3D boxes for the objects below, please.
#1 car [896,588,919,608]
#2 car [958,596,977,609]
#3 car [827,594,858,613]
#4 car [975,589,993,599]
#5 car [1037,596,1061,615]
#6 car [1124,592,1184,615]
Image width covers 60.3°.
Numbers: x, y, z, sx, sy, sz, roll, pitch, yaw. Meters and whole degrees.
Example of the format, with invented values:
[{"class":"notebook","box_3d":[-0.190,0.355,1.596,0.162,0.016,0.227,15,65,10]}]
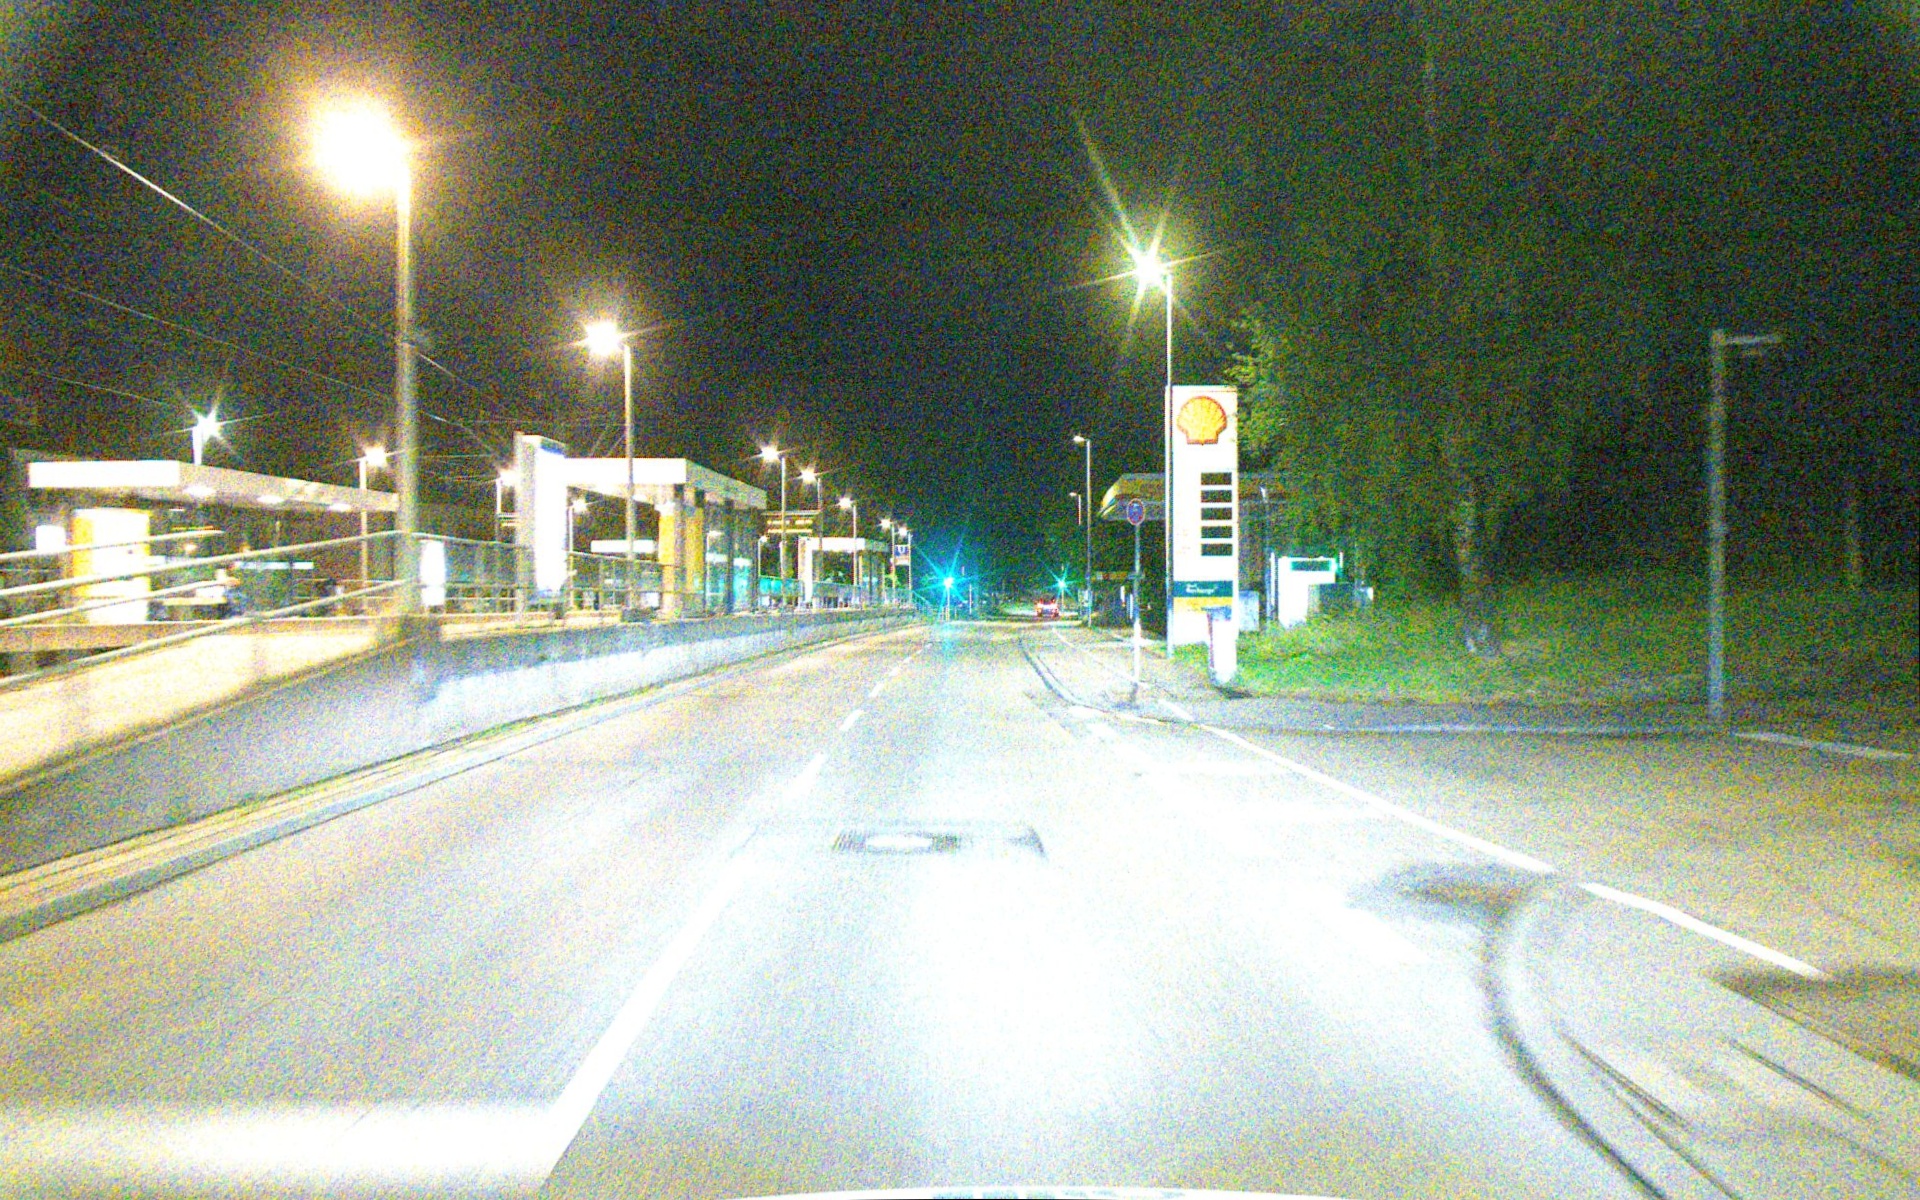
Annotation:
[{"class":"car","box_3d":[-5.272,-0.221,167.138,1.818,1.937,4.883,0,0,5]},{"class":"car","box_3d":[0.991,0.350,215.066,1.951,1.656,4.681,0,0,7]},{"class":"car","box_3d":[-9.496,0.263,133.880,1.611,1.362,4.546,-4,0,6]},{"class":"car","box_3d":[3.474,-0.872,234.612,1.951,1.361,5.436,0,0,7]},{"class":"car","box_3d":[8.157,0.469,151.227,2.116,1.610,4.015,-1,0,3]},{"class":"car","box_3d":[12.182,0.214,103.893,3.684,1.378,1.860,0,0,5]}]
